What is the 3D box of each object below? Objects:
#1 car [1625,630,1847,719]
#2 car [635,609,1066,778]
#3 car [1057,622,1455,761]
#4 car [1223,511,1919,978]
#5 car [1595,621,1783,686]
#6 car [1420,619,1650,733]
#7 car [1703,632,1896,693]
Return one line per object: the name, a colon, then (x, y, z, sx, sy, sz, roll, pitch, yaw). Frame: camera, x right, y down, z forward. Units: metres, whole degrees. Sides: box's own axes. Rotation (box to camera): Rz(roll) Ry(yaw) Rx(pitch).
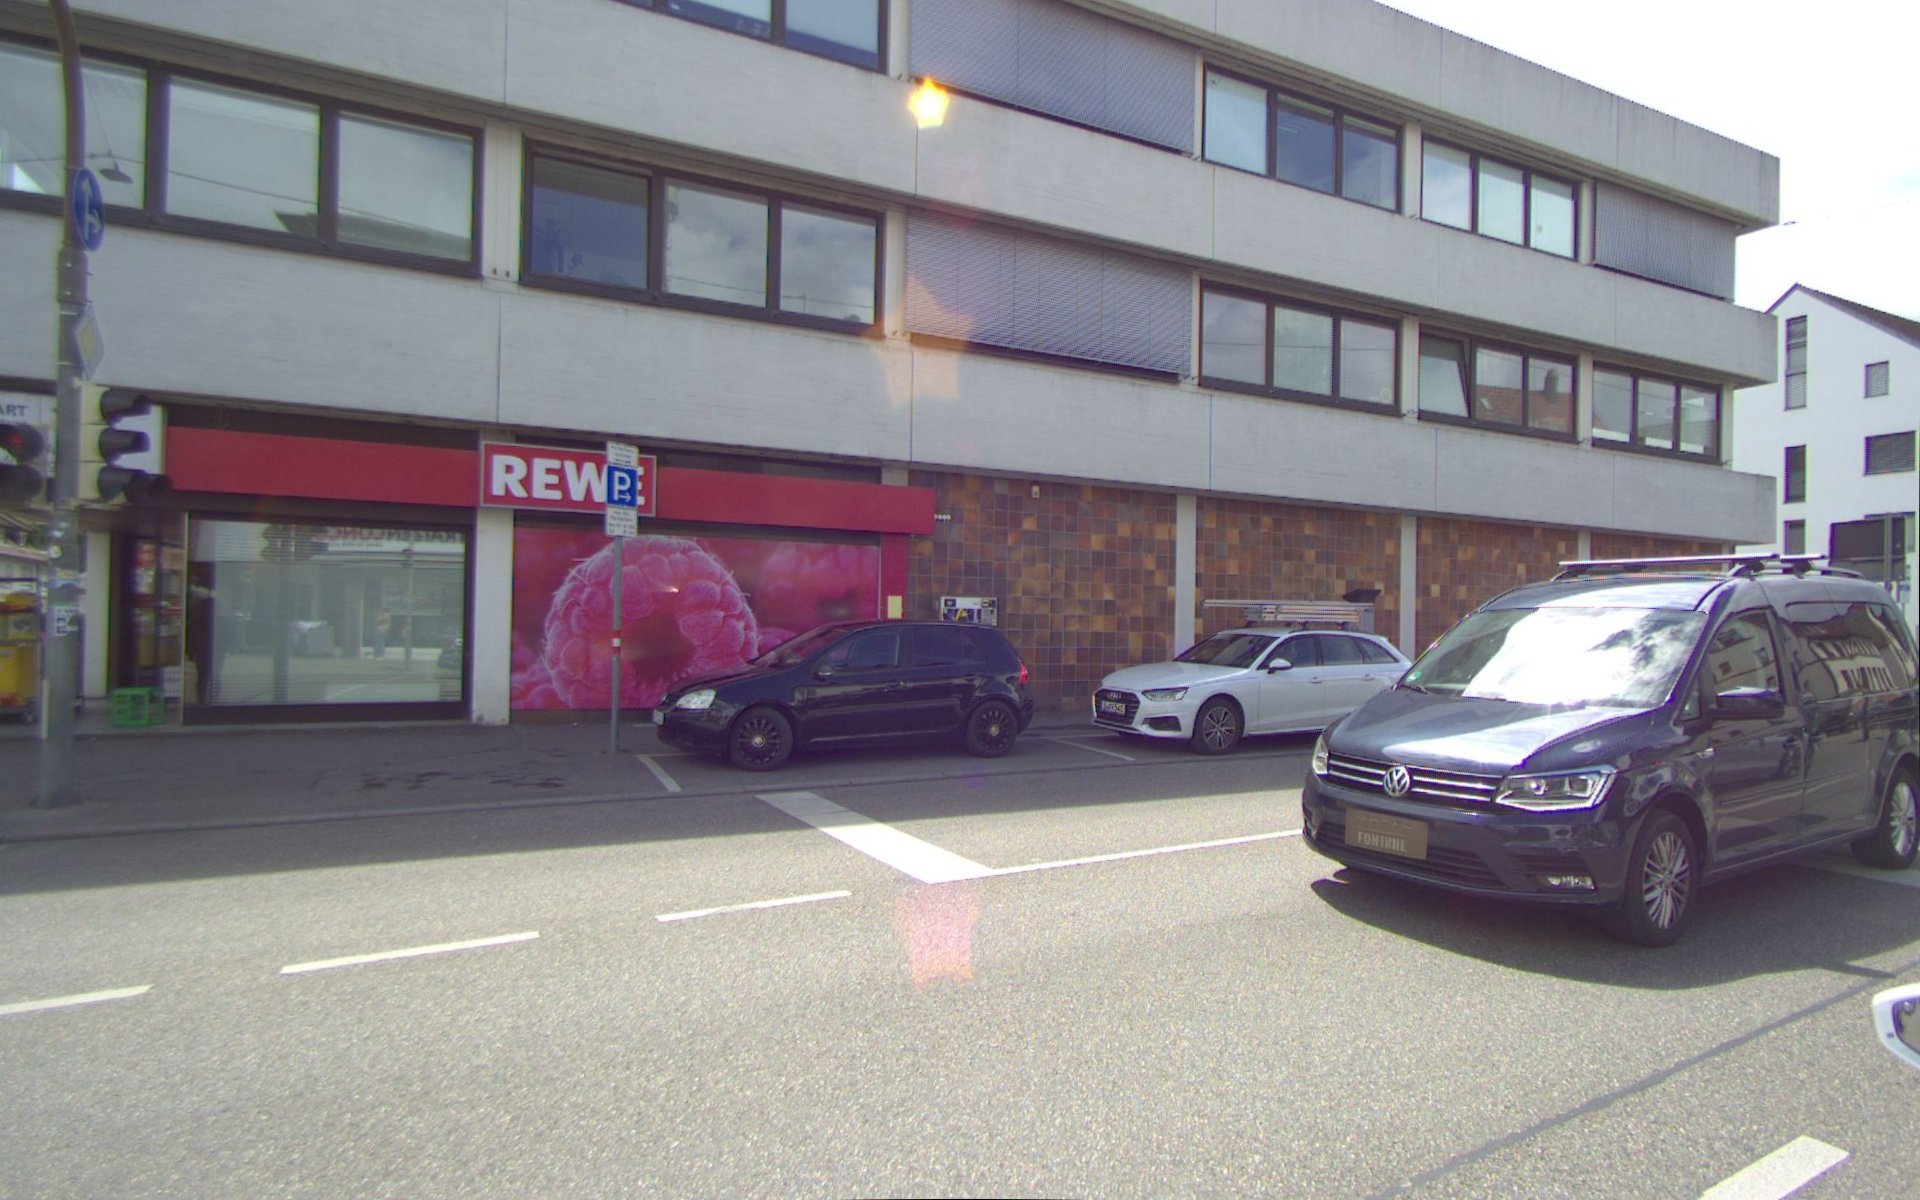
car: (14.403, 1.311, 18.610, 4.096, 1.441, 1.715, 1, 0, -28)
car: (-1.167, 0.884, 10.957, 4.232, 1.495, 2.036, 1, 0, -29)
car: (3.860, 1.061, 12.965, 4.888, 1.463, 2.037, 1, 0, -27)
car: (4.054, 0.657, 6.205, 4.822, 1.901, 1.938, 1, -2, -32)
car: (19.973, 1.446, 27.510, 4.860, 1.640, 1.947, 1, -4, -24)
car: (8.915, 1.109, 15.593, 3.017, 1.576, 1.730, 1, 0, -27)
car: (20.979, 1.513, 25.074, 4.792, 1.376, 1.945, 1, -1, -26)
